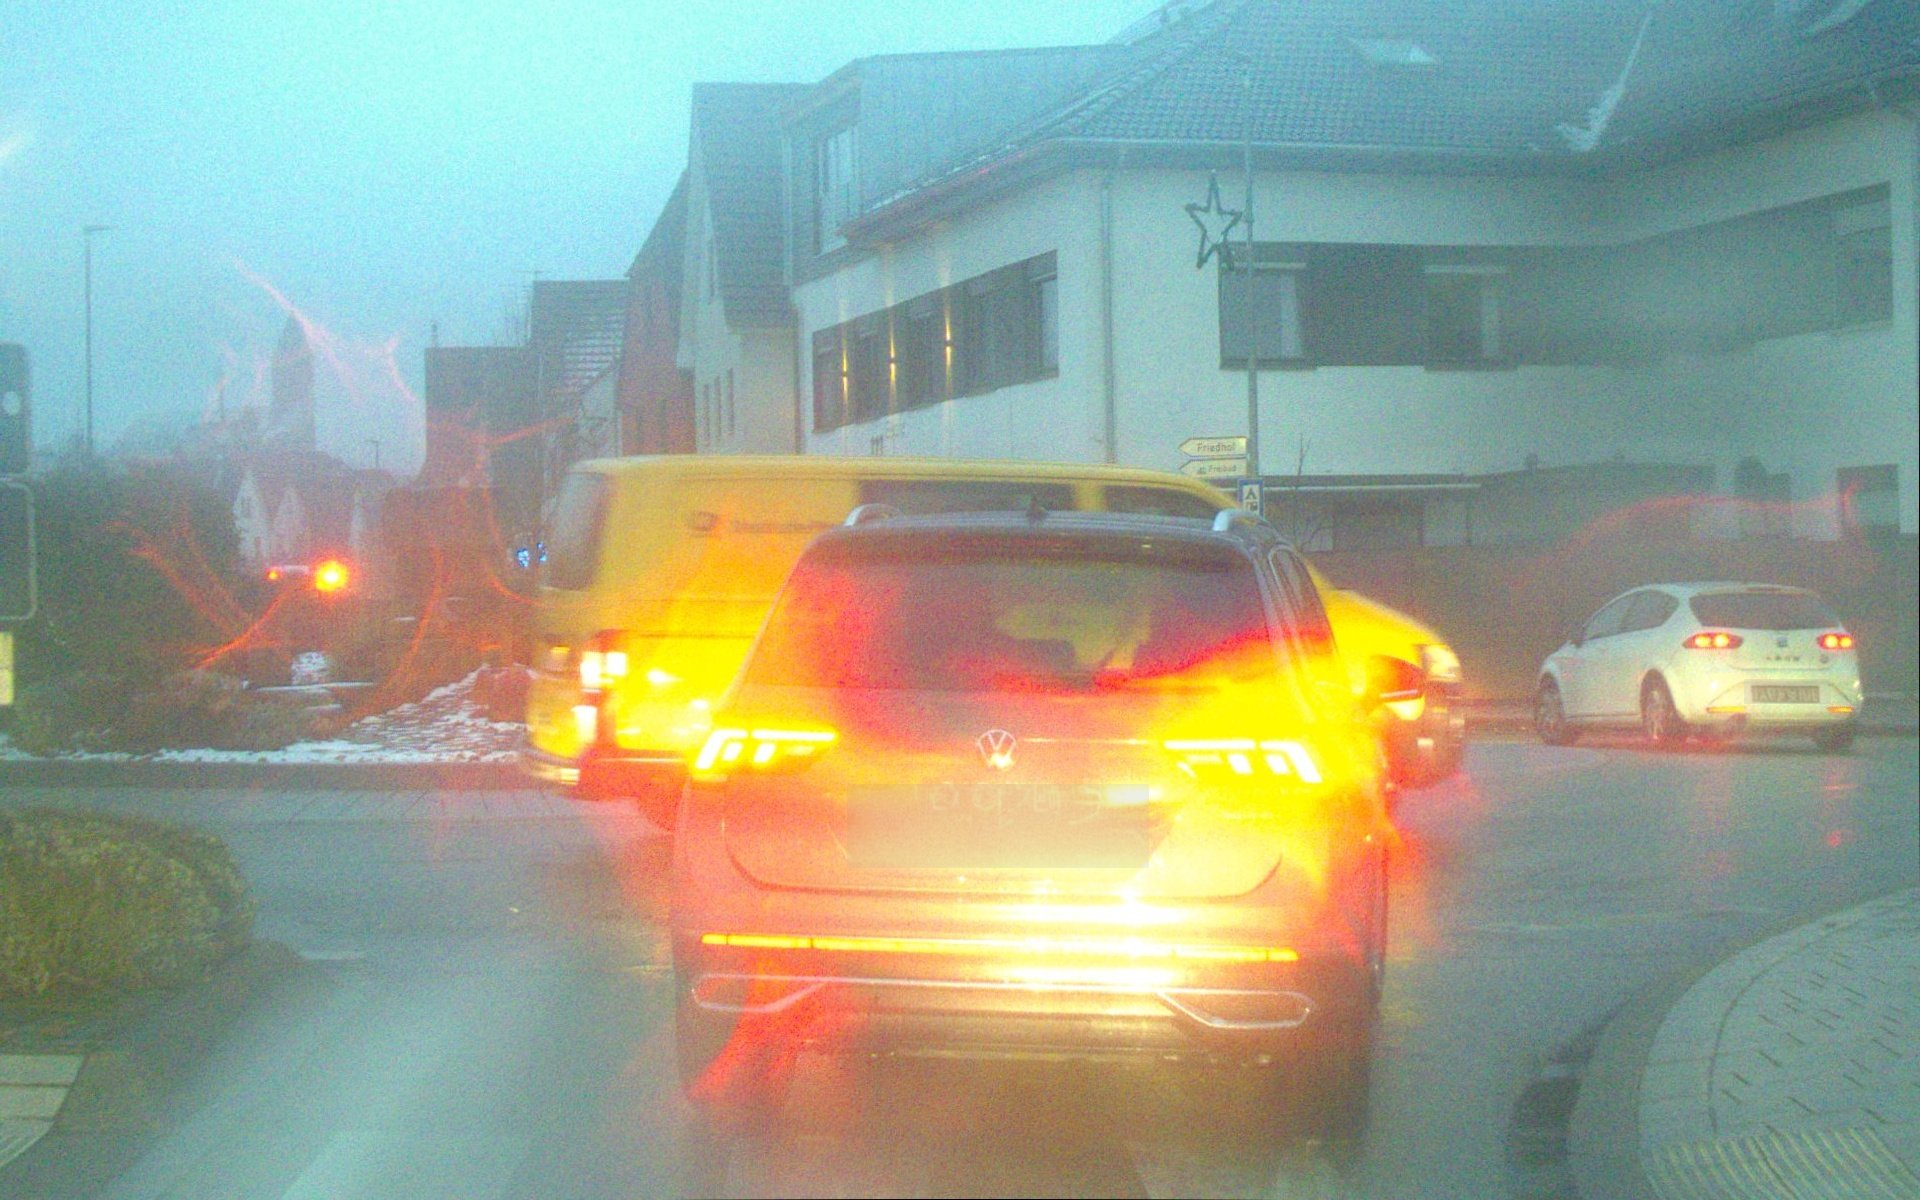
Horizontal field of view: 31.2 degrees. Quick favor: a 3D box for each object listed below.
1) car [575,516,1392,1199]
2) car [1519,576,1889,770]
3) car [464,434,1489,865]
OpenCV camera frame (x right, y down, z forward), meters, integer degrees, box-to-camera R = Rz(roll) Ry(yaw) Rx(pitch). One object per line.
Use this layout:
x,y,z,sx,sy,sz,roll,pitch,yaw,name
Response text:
0.288,0.589,10.116,1.916,1.610,3.949,0,1,8,car
6.423,0.581,30.130,1.777,1.533,3.933,-1,1,-10,car
0.034,0.206,17.605,4.882,2.007,2.001,-1,0,-15,car
